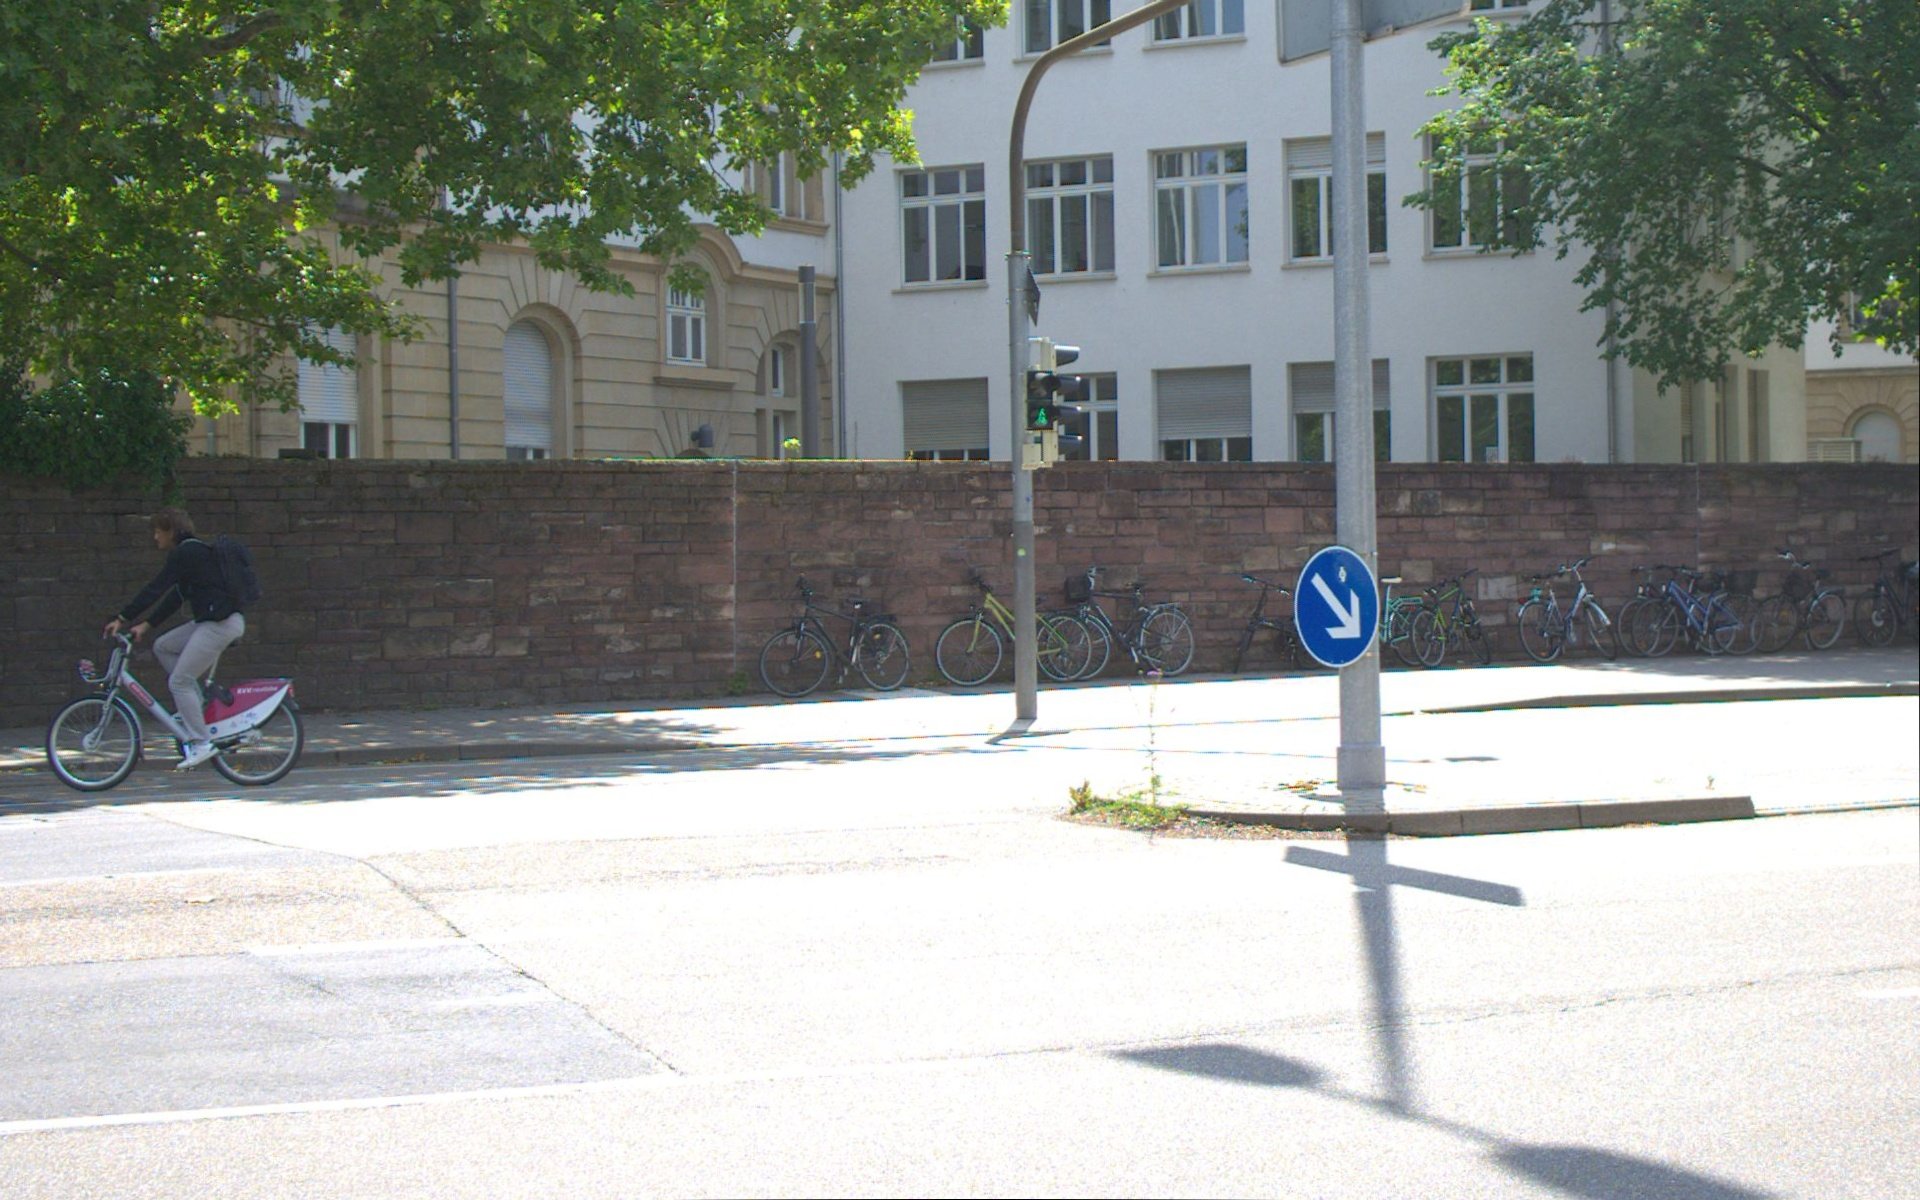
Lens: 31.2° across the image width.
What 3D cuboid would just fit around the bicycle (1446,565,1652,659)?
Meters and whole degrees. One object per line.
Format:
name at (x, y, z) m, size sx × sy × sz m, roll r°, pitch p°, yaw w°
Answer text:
bicycle at (6.634, 0.119, 38.650) m, size 2.381 × 0.990 × 0.754 m, roll -2°, pitch 1°, yaw -32°

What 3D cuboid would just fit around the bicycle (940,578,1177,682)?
bicycle at (1.011, 0.291, 34.932) m, size 2.381 × 0.990 × 0.754 m, roll -2°, pitch 1°, yaw -32°

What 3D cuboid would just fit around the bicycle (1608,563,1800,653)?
bicycle at (8.677, 0.082, 40.030) m, size 2.381 × 0.990 × 0.754 m, roll -2°, pitch 1°, yaw -35°

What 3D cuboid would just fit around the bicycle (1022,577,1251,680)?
bicycle at (1.829, 0.278, 35.469) m, size 2.381 × 0.990 × 0.697 m, roll -2°, pitch 1°, yaw -32°

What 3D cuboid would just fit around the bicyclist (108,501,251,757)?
bicyclist at (-5.212, 0.186, 22.995) m, size 0.887 × 1.666 × 0.684 m, roll -1°, pitch 1°, yaw -12°

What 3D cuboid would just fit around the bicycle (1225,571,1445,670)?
bicycle at (4.035, 0.209, 36.907) m, size 2.381 × 0.990 × 0.754 m, roll -2°, pitch 1°, yaw -32°

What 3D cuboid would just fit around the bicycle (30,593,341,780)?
bicycle at (-5.166, 0.567, 23.012) m, size 1.981 × 1.181 × 0.682 m, roll -1°, pitch 1°, yaw -11°

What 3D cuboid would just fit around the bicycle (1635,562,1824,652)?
bicycle at (9.019, 0.072, 40.259) m, size 2.381 × 0.990 × 0.724 m, roll -2°, pitch 1°, yaw -35°

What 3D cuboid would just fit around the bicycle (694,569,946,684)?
bicycle at (-1.352, 0.244, 33.469) m, size 2.381 × 1.055 × 0.754 m, roll -2°, pitch 1°, yaw -32°

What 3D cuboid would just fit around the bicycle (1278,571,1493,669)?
bicycle at (4.631, 0.203, 37.306) m, size 2.381 × 0.990 × 0.725 m, roll -2°, pitch 1°, yaw -32°

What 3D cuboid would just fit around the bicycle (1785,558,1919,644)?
bicycle at (11.088, 0.001, 41.567) m, size 2.381 × 0.990 × 0.754 m, roll -2°, pitch 1°, yaw -35°
